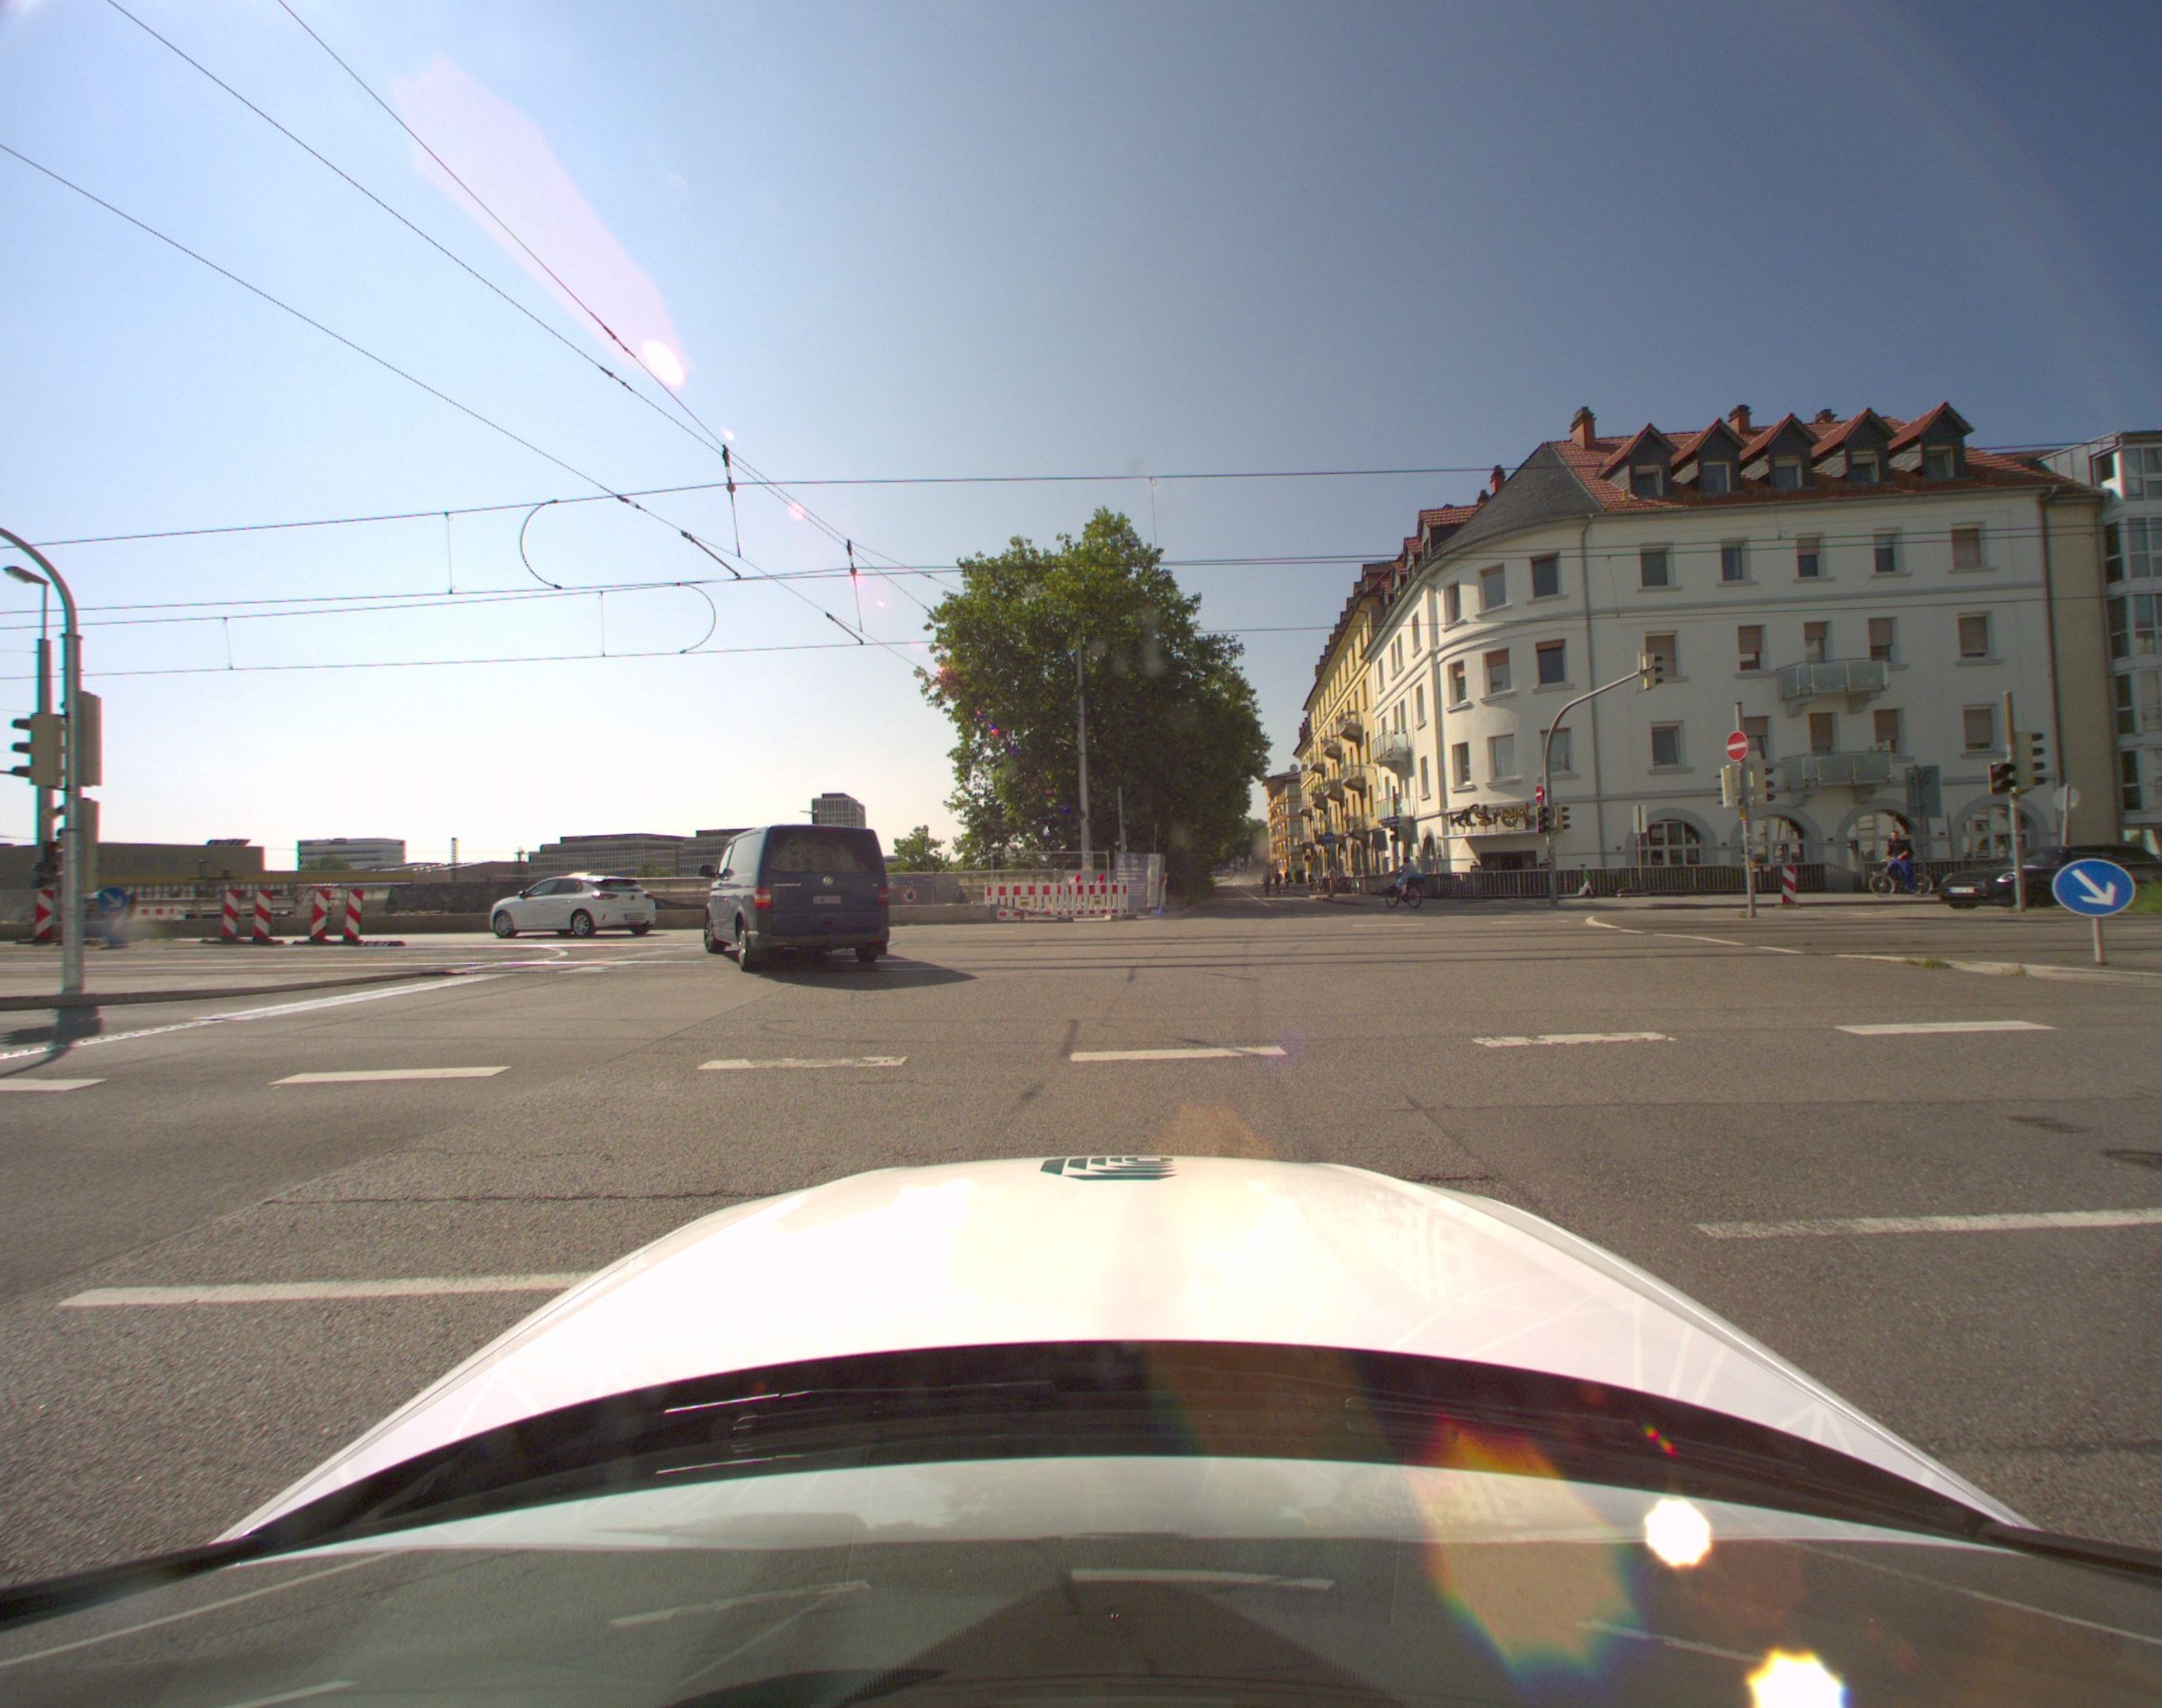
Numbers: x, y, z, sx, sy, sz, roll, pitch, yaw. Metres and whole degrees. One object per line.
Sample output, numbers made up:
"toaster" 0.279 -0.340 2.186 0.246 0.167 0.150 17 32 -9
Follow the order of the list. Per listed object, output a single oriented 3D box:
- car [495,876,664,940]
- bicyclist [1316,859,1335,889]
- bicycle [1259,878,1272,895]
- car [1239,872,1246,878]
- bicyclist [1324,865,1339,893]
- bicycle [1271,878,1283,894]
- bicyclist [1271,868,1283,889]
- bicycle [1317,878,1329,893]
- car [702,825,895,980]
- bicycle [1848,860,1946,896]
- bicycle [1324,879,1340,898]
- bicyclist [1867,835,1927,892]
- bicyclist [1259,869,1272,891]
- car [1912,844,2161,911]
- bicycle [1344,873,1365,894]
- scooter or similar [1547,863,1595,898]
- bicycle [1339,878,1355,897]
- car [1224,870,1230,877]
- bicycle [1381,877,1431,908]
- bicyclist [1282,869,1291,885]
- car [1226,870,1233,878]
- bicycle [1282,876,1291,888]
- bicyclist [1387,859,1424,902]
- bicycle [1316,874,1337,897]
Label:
"car" -11.951 1.268 19.443 3.371 1.405 1.732 -2 -2 21
"bicyclist" 12.589 1.053 41.903 0.831 1.508 0.956 -1 -2 13
"bicycle" 13.005 2.294 57.357 0.831 1.137 2.869 -1 -2 13
"car" 42.530 5.537 214.547 1.616 1.623 3.706 -1 0 10
"bicyclist" 14.482 1.454 47.080 0.703 1.550 0.787 -4 -1 12
"bicycle" 14.427 2.350 59.903 0.831 1.137 2.869 -1 -2 13
"bicyclist" 14.439 1.821 60.037 0.831 1.538 1.027 -1 -2 13
"bicycle" 17.989 2.345 60.538 0.676 1.075 2.300 -2 -1 12
"car" -4.388 0.610 12.249 1.828 1.905 4.012 -1 0 -33
"bicycle" 24.327 0.717 24.320 1.891 1.020 0.825 -2 -1 16
"bicycle" 14.501 1.976 47.039 0.703 0.991 1.825 -4 -1 12
"bicyclist" 24.352 0.280 24.312 0.998 1.653 0.813 -1 2 16
"bicyclist" 13.000 1.843 57.339 0.831 1.538 1.027 -1 -2 13
"car" 21.328 0.520 17.964 3.968 1.321 1.770 -1 -2 5
"bicycle" 15.539 1.648 46.271 0.831 1.137 2.868 -1 -2 13
"scooter or similar" 16.306 0.880 27.110 1.289 1.118 0.341 -2 -1 22
"bicycle" 16.243 2.020 49.807 0.676 1.075 2.300 -2 -1 12
"car" 38.499 5.151 214.517 1.616 1.623 3.706 -1 0 10
"bicycle" 10.784 1.259 27.125 0.861 0.990 2.248 -1 -2 3
"bicyclist" 20.366 2.279 80.755 0.831 1.538 1.027 -1 -2 13
"car" 34.266 4.617 188.267 1.616 1.623 3.706 -1 0 10
"bicycle" 20.392 2.746 80.822 0.831 1.137 2.869 -1 -2 13
"bicyclist" 10.772 0.878 27.073 0.861 1.415 0.918 -1 -2 3
"bicycle" 12.636 1.602 41.978 0.831 1.137 2.868 -1 -2 13
